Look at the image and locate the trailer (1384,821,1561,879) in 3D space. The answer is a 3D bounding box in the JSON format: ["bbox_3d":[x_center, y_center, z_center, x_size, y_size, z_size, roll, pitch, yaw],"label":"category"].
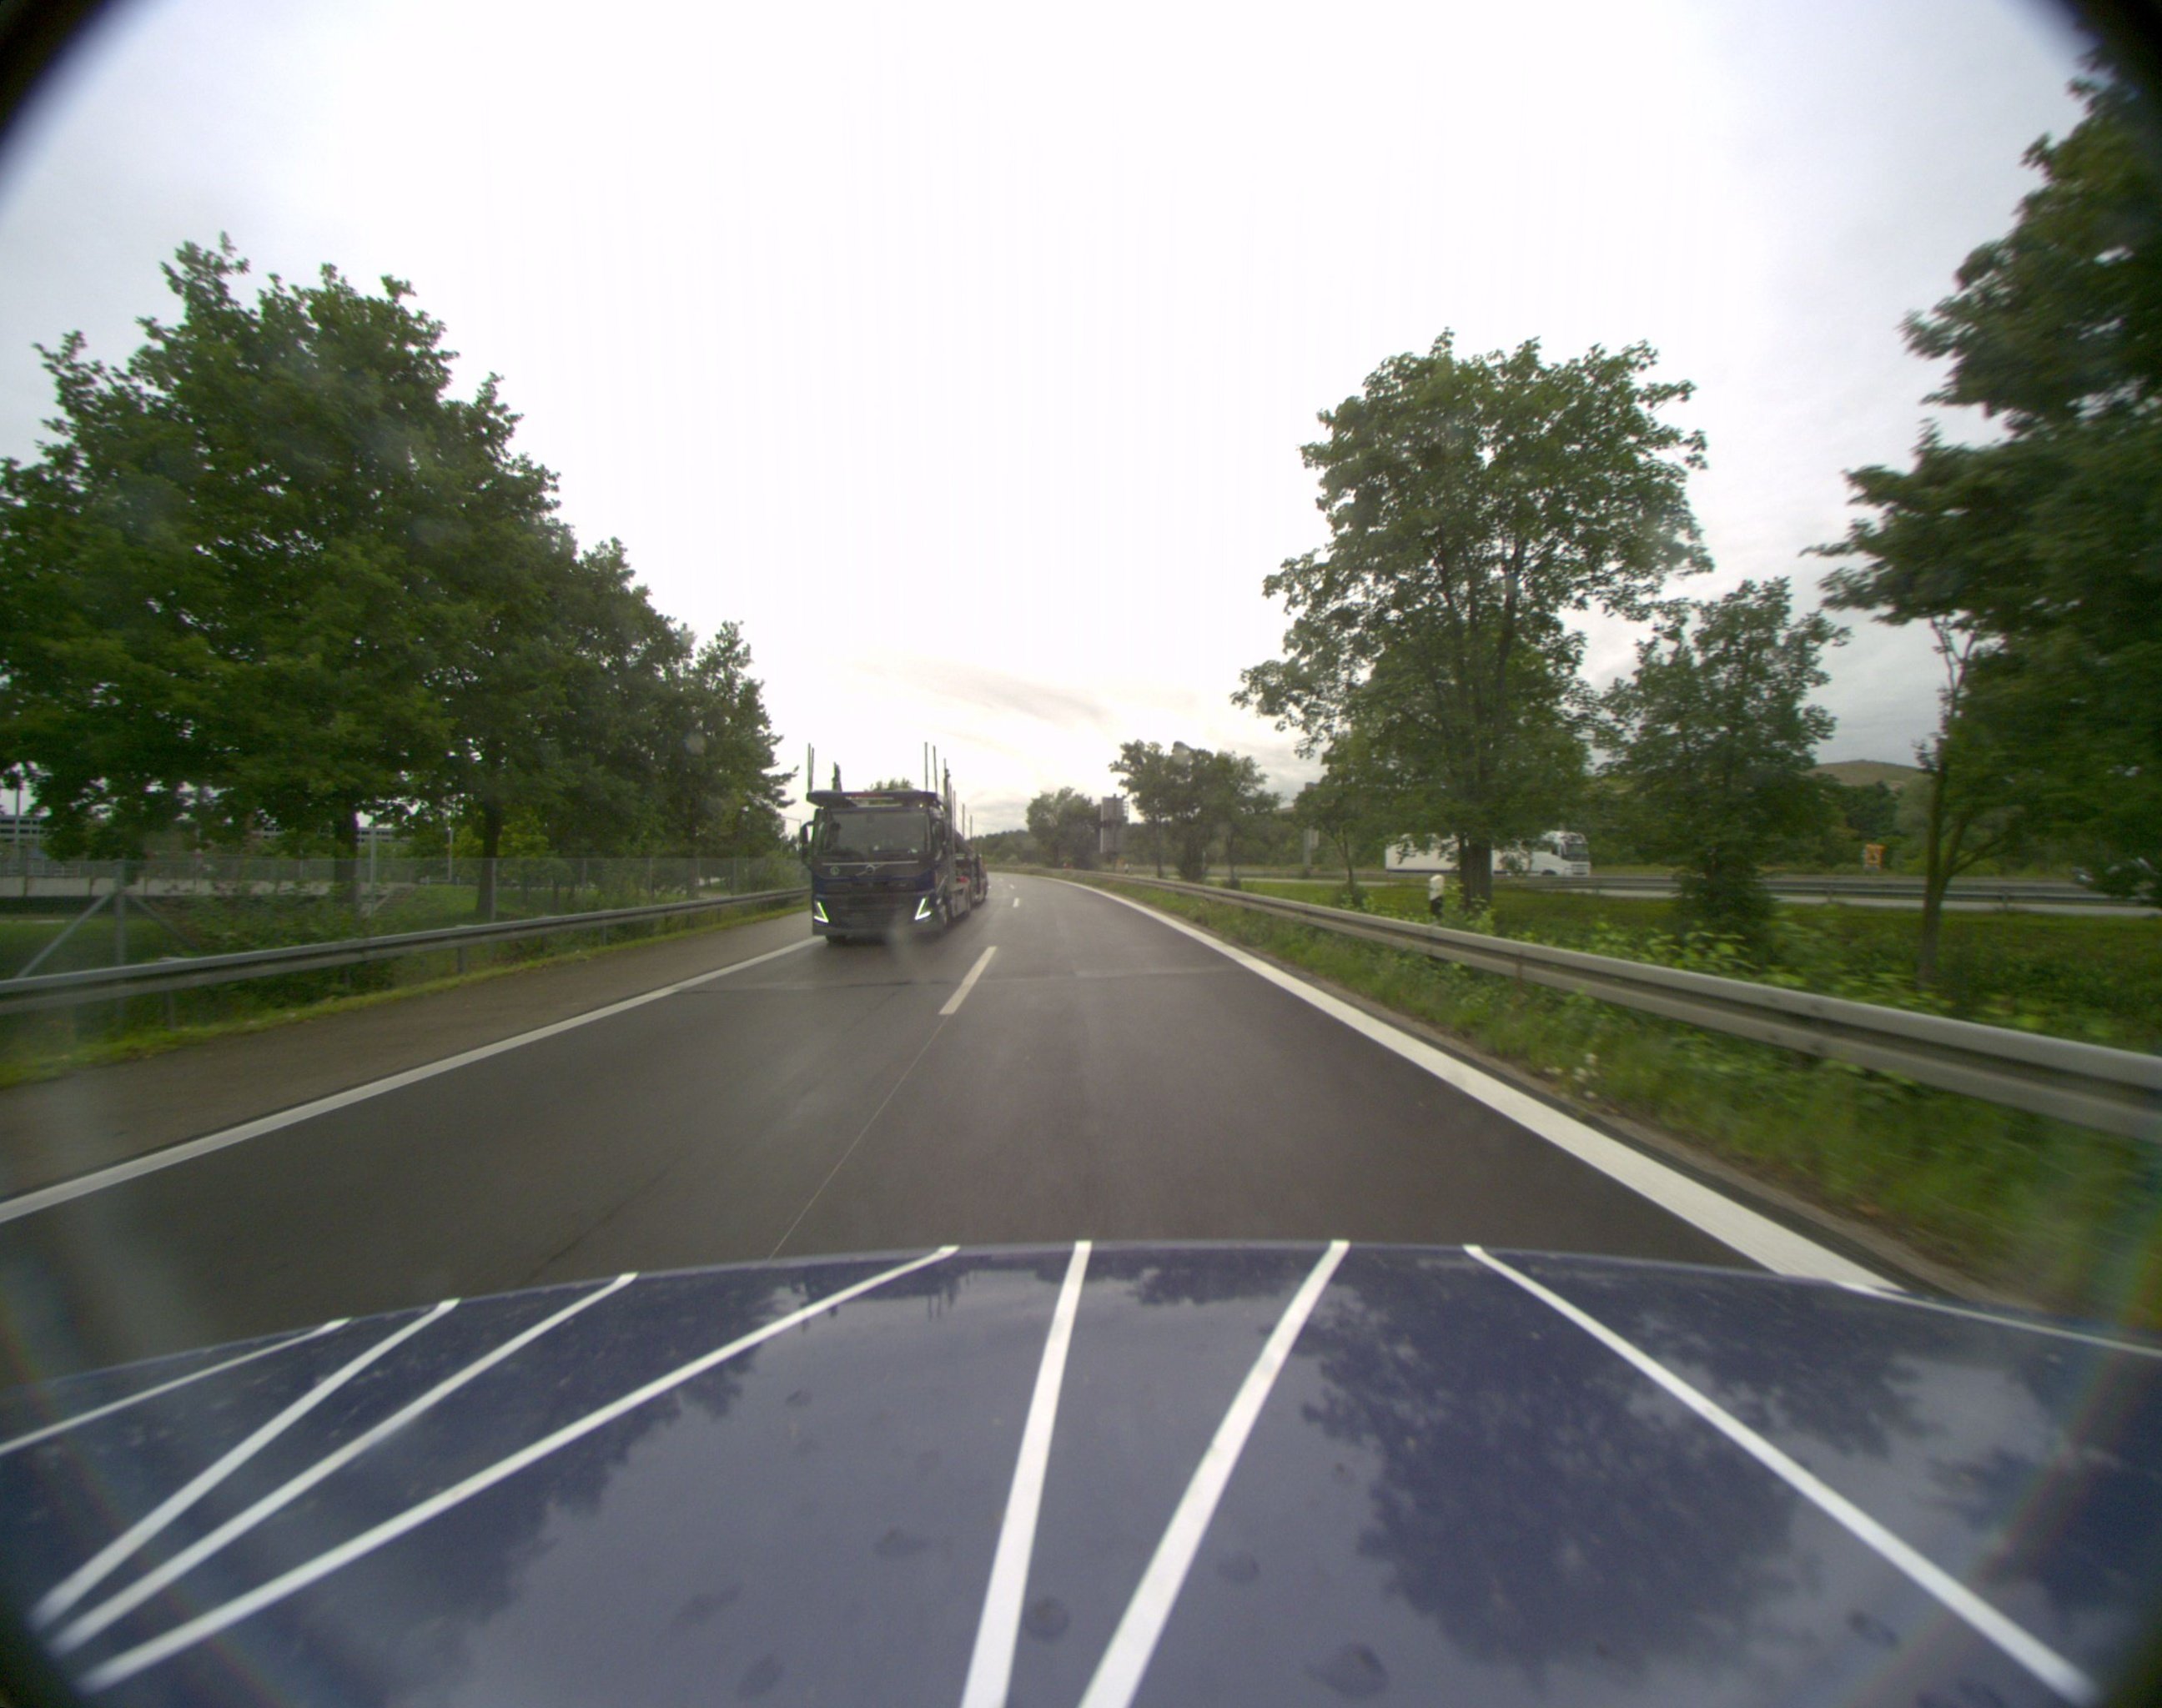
[{"bbox_3d":[30.533,-0.234,60.541,2.778,4.111,13.924,-1,0,-23],"label":"trailer"}]

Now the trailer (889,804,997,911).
[{"bbox_3d":[-4.812,0.132,28.613,2.785,3.265,10.403,-1,0,-4],"label":"trailer"}]

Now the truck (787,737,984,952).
[{"bbox_3d":[-4.257,-0.149,18.869,2.746,3.944,9.126,-3,0,-3],"label":"truck"}]

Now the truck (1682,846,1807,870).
[{"bbox_3d":[61.038,0.321,70.266,2.002,2.002,8.798,-1,1,-20],"label":"truck"}]

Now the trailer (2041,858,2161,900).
[{"bbox_3d":[43.390,0.992,31.787,1.890,1.617,3.603,-1,1,-23],"label":"trailer"}]

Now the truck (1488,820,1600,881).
[{"bbox_3d":[33.105,-0.209,54.570,2.778,4.111,6.433,-1,0,-23],"label":"truck"}]
